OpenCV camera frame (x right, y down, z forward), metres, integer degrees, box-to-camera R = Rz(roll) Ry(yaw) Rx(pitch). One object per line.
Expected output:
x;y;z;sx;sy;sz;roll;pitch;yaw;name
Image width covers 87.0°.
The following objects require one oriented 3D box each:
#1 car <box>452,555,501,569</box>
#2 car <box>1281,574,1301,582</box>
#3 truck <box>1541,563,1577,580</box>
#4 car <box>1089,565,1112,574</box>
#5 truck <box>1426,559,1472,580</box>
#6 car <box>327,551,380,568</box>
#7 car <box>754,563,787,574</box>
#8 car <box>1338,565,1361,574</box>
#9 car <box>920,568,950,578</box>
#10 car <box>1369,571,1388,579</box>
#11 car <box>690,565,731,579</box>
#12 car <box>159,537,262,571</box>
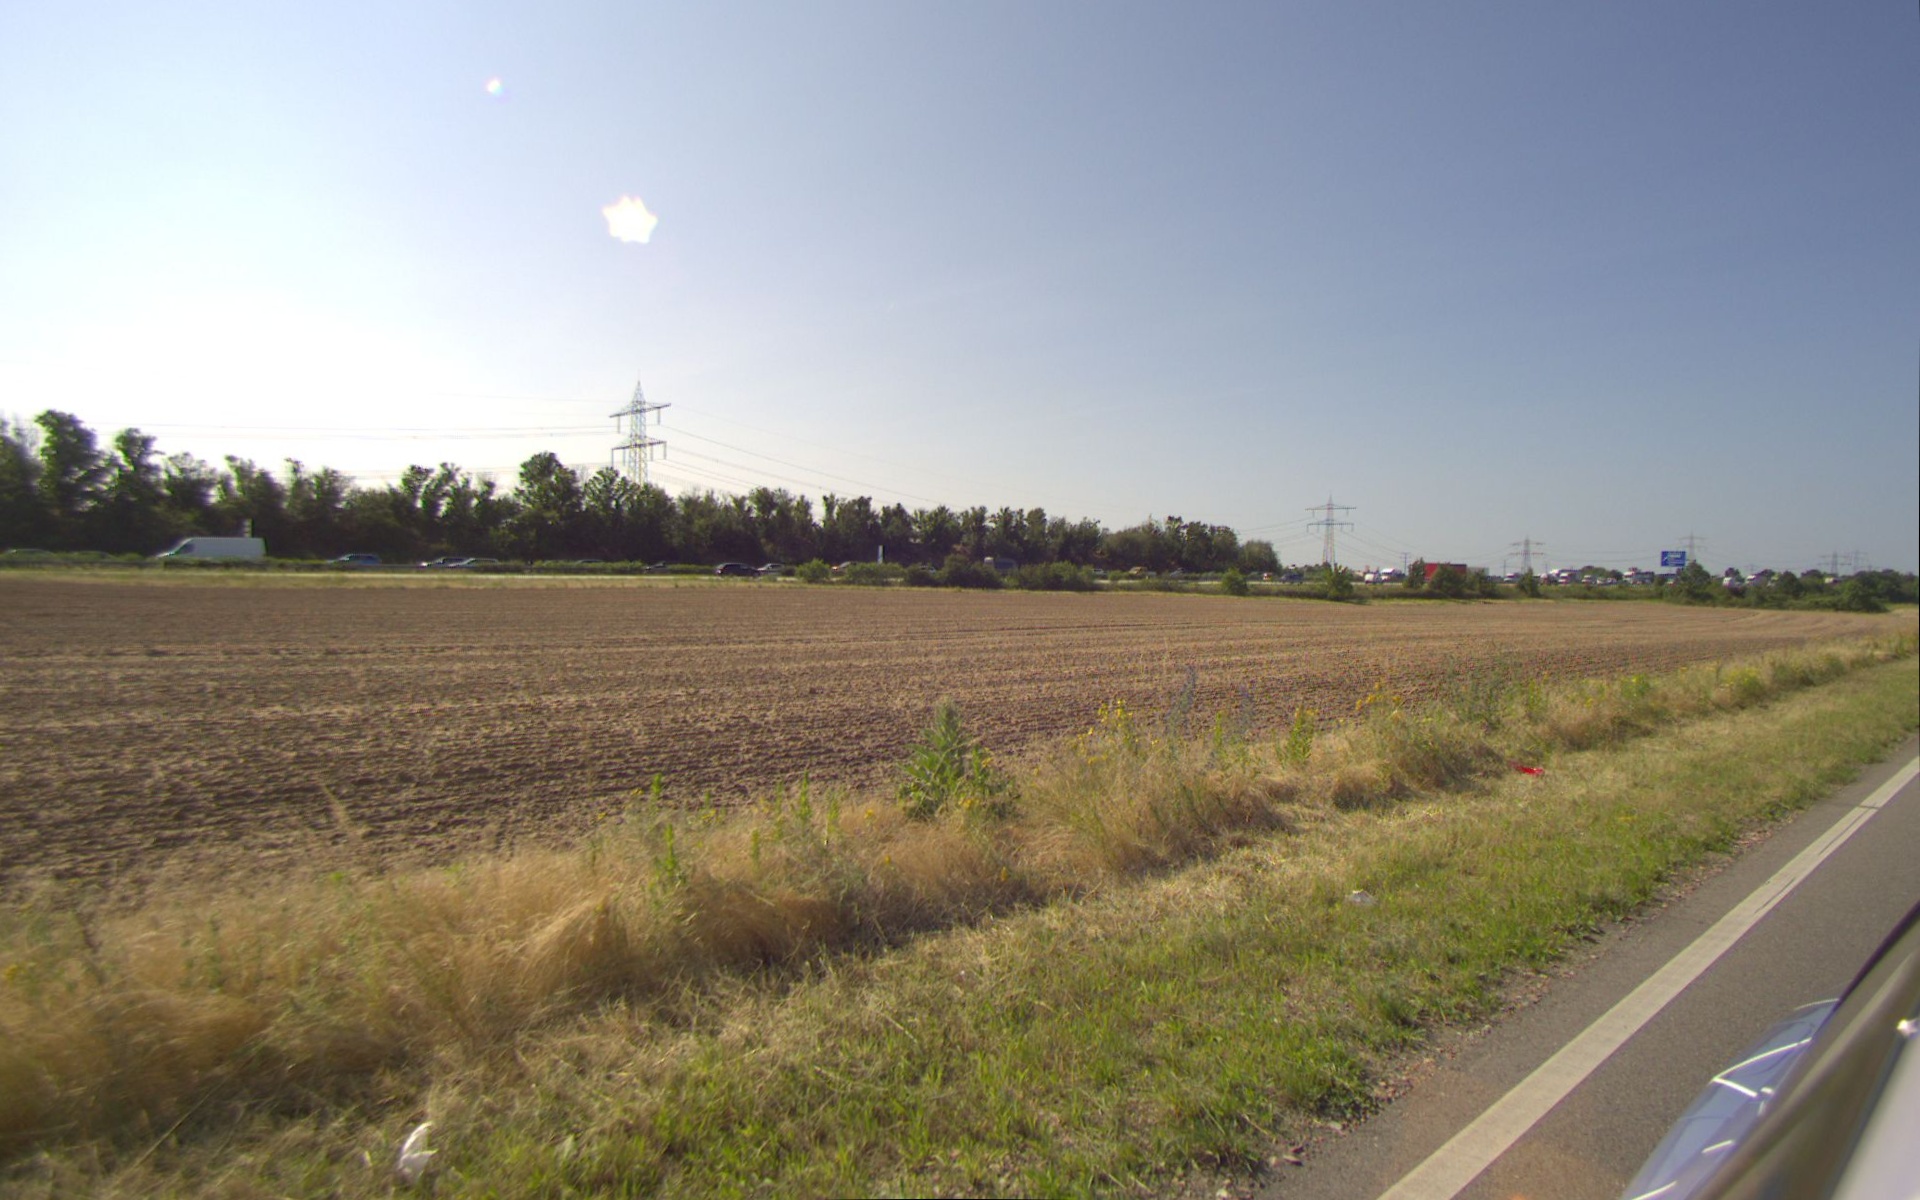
-42.950;-3.345;89.940;3.796;1.139;1.342;-1;1;-42;car
51.441;-3.375;157.317;3.532;1.228;1.415;-1;1;-40;car
135.336;-6.365;228.683;13.451;3.603;2.908;0;2;-41;truck
20.540;-4.435;147.856;3.534;1.243;1.484;-1;1;-42;car
93.560;-5.809;193.532;13.451;3.603;2.908;0;2;-41;truck
-50.160;-3.339;83.695;3.602;1.323;1.341;-1;1;-44;car
-21.938;-3.625;117.225;3.534;1.243;1.484;-1;1;-42;car
78.774;-6.215;204.713;5.510;1.701;2.054;-1;1;-40;car
-3.043;-3.314;124.852;3.532;1.243;1.485;-1;1;-40;car
72.218;-4.280;174.785;3.530;1.440;1.494;-1;1;-38;car
-23.724;-2.631;96.305;3.489;1.279;1.581;-1;0;-42;car
-58.021;-3.547;78.418;6.303;2.477;2.041;-1;1;-42;car
